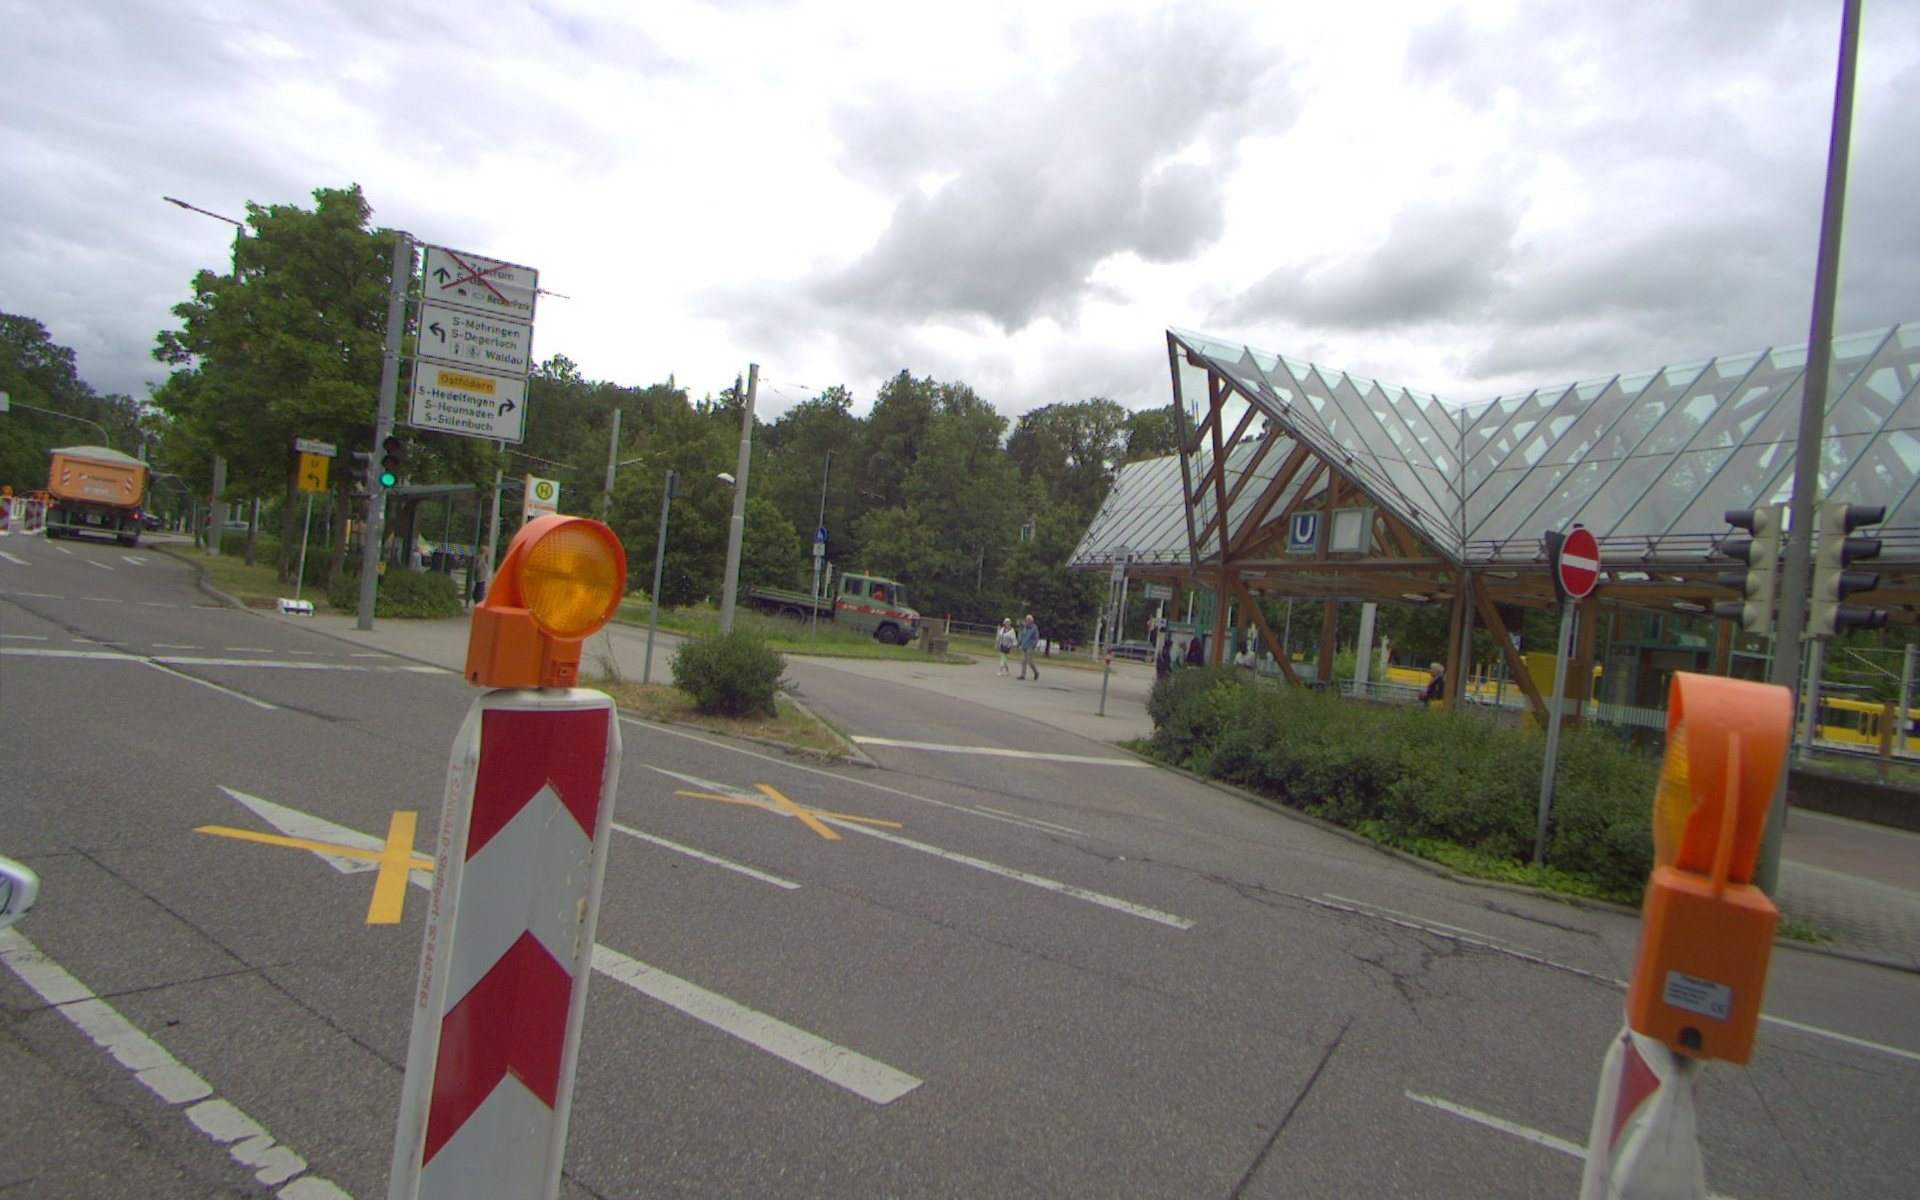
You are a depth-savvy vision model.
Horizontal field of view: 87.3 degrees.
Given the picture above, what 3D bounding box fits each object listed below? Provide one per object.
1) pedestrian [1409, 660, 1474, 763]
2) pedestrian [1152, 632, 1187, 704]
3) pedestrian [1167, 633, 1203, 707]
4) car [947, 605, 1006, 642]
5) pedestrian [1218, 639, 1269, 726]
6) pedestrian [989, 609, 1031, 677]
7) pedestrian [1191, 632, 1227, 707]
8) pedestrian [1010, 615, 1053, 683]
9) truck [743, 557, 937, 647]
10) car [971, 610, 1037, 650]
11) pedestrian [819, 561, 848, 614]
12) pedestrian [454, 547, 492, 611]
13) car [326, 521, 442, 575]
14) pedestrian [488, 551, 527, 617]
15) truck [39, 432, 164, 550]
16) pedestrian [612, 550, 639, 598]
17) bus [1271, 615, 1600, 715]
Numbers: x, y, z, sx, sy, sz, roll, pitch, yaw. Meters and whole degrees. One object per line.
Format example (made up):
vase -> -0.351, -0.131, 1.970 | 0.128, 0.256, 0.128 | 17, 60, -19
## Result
pedestrian -> 8.945, 2.056, 18.694 | 0.645, 1.778, 0.668 | 7, -1, -9
pedestrian -> 5.445, 1.757, 26.213 | 0.655, 1.778, 0.562 | 7, -1, 9
pedestrian -> 5.676, 1.763, 25.376 | 0.589, 1.778, 0.668 | 7, -1, 22
car -> 1.130, 1.674, 70.879 | 3.927, 2.037, 2.001 | 7, -1, -1
pedestrian -> 6.187, 1.804, 21.953 | 0.664, 1.778, 0.648 | 8, -1, -44
pedestrian -> 1.399, 1.211, 28.326 | 0.664, 1.778, 0.728 | 8, -1, -44
pedestrian -> 6.219, 1.745, 25.109 | 0.589, 1.778, 0.668 | 7, -1, 22
pedestrian -> 1.986, 1.351, 27.877 | 0.727, 1.778, 0.665 | 6, -1, 45
truck -> -4.331, 0.096, 36.869 | 6.419, 2.379, 2.410 | 7, -2, 10
car -> 2.811, 1.912, 64.878 | 3.927, 2.037, 2.001 | 7, -1, -1
pedestrian -> -7.736, -0.777, 61.652 | 1.093, 3.080, 1.027 | 7, -1, 17
pedestrian -> -12.366, -0.528, 25.553 | 0.471, 1.534, 0.522 | 7, -1, 28
car -> -37.235, -3.344, 65.114 | 6.036, 2.523, 2.001 | 7, -1, -1
pedestrian -> -11.076, -0.394, 24.625 | 0.471, 1.534, 0.522 | 7, -1, 28
truck -> -31.908, -3.993, 37.698 | 2.844, 3.558, 8.161 | 7, 1, -38
pedestrian -> -17.223, -1.349, 51.773 | 0.846, 2.321, 0.617 | 7, -1, 17
bus -> 28.543, 3.876, 60.839 | 18.248, 3.523, 3.978 | 8, -2, -5
